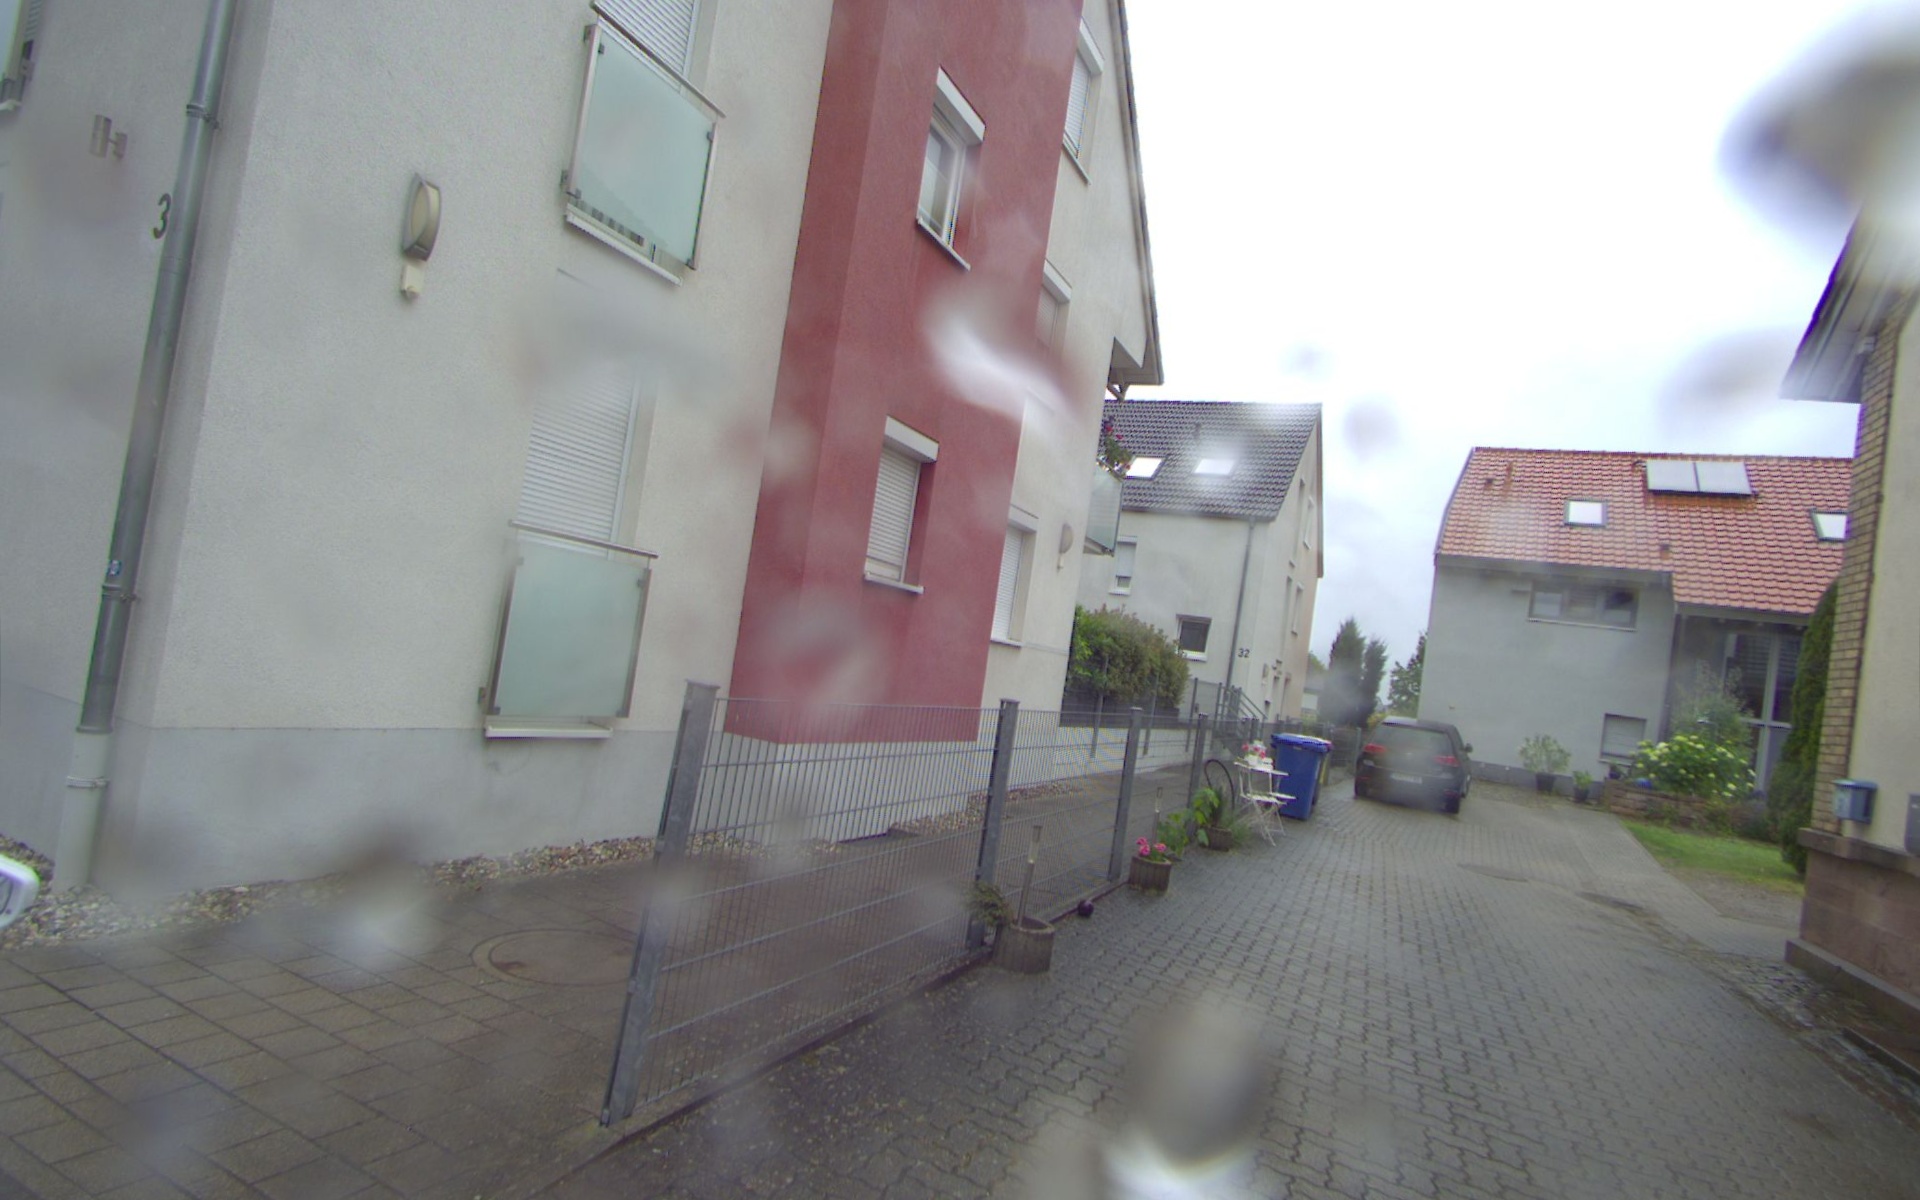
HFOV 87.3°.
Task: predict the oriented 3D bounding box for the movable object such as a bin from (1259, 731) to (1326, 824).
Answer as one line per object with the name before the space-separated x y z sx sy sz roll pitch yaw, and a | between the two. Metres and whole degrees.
movable object such as a bin | 4.462 2.363 13.480 0.675 1.108 0.536 7 -2 25

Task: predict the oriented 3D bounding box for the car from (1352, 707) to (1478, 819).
car | 8.546 2.914 18.703 1.656 1.491 3.993 7 0 30

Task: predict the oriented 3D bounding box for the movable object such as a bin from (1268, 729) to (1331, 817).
movable object such as a bin | 4.812 2.440 14.262 0.675 1.108 0.536 7 -2 25
